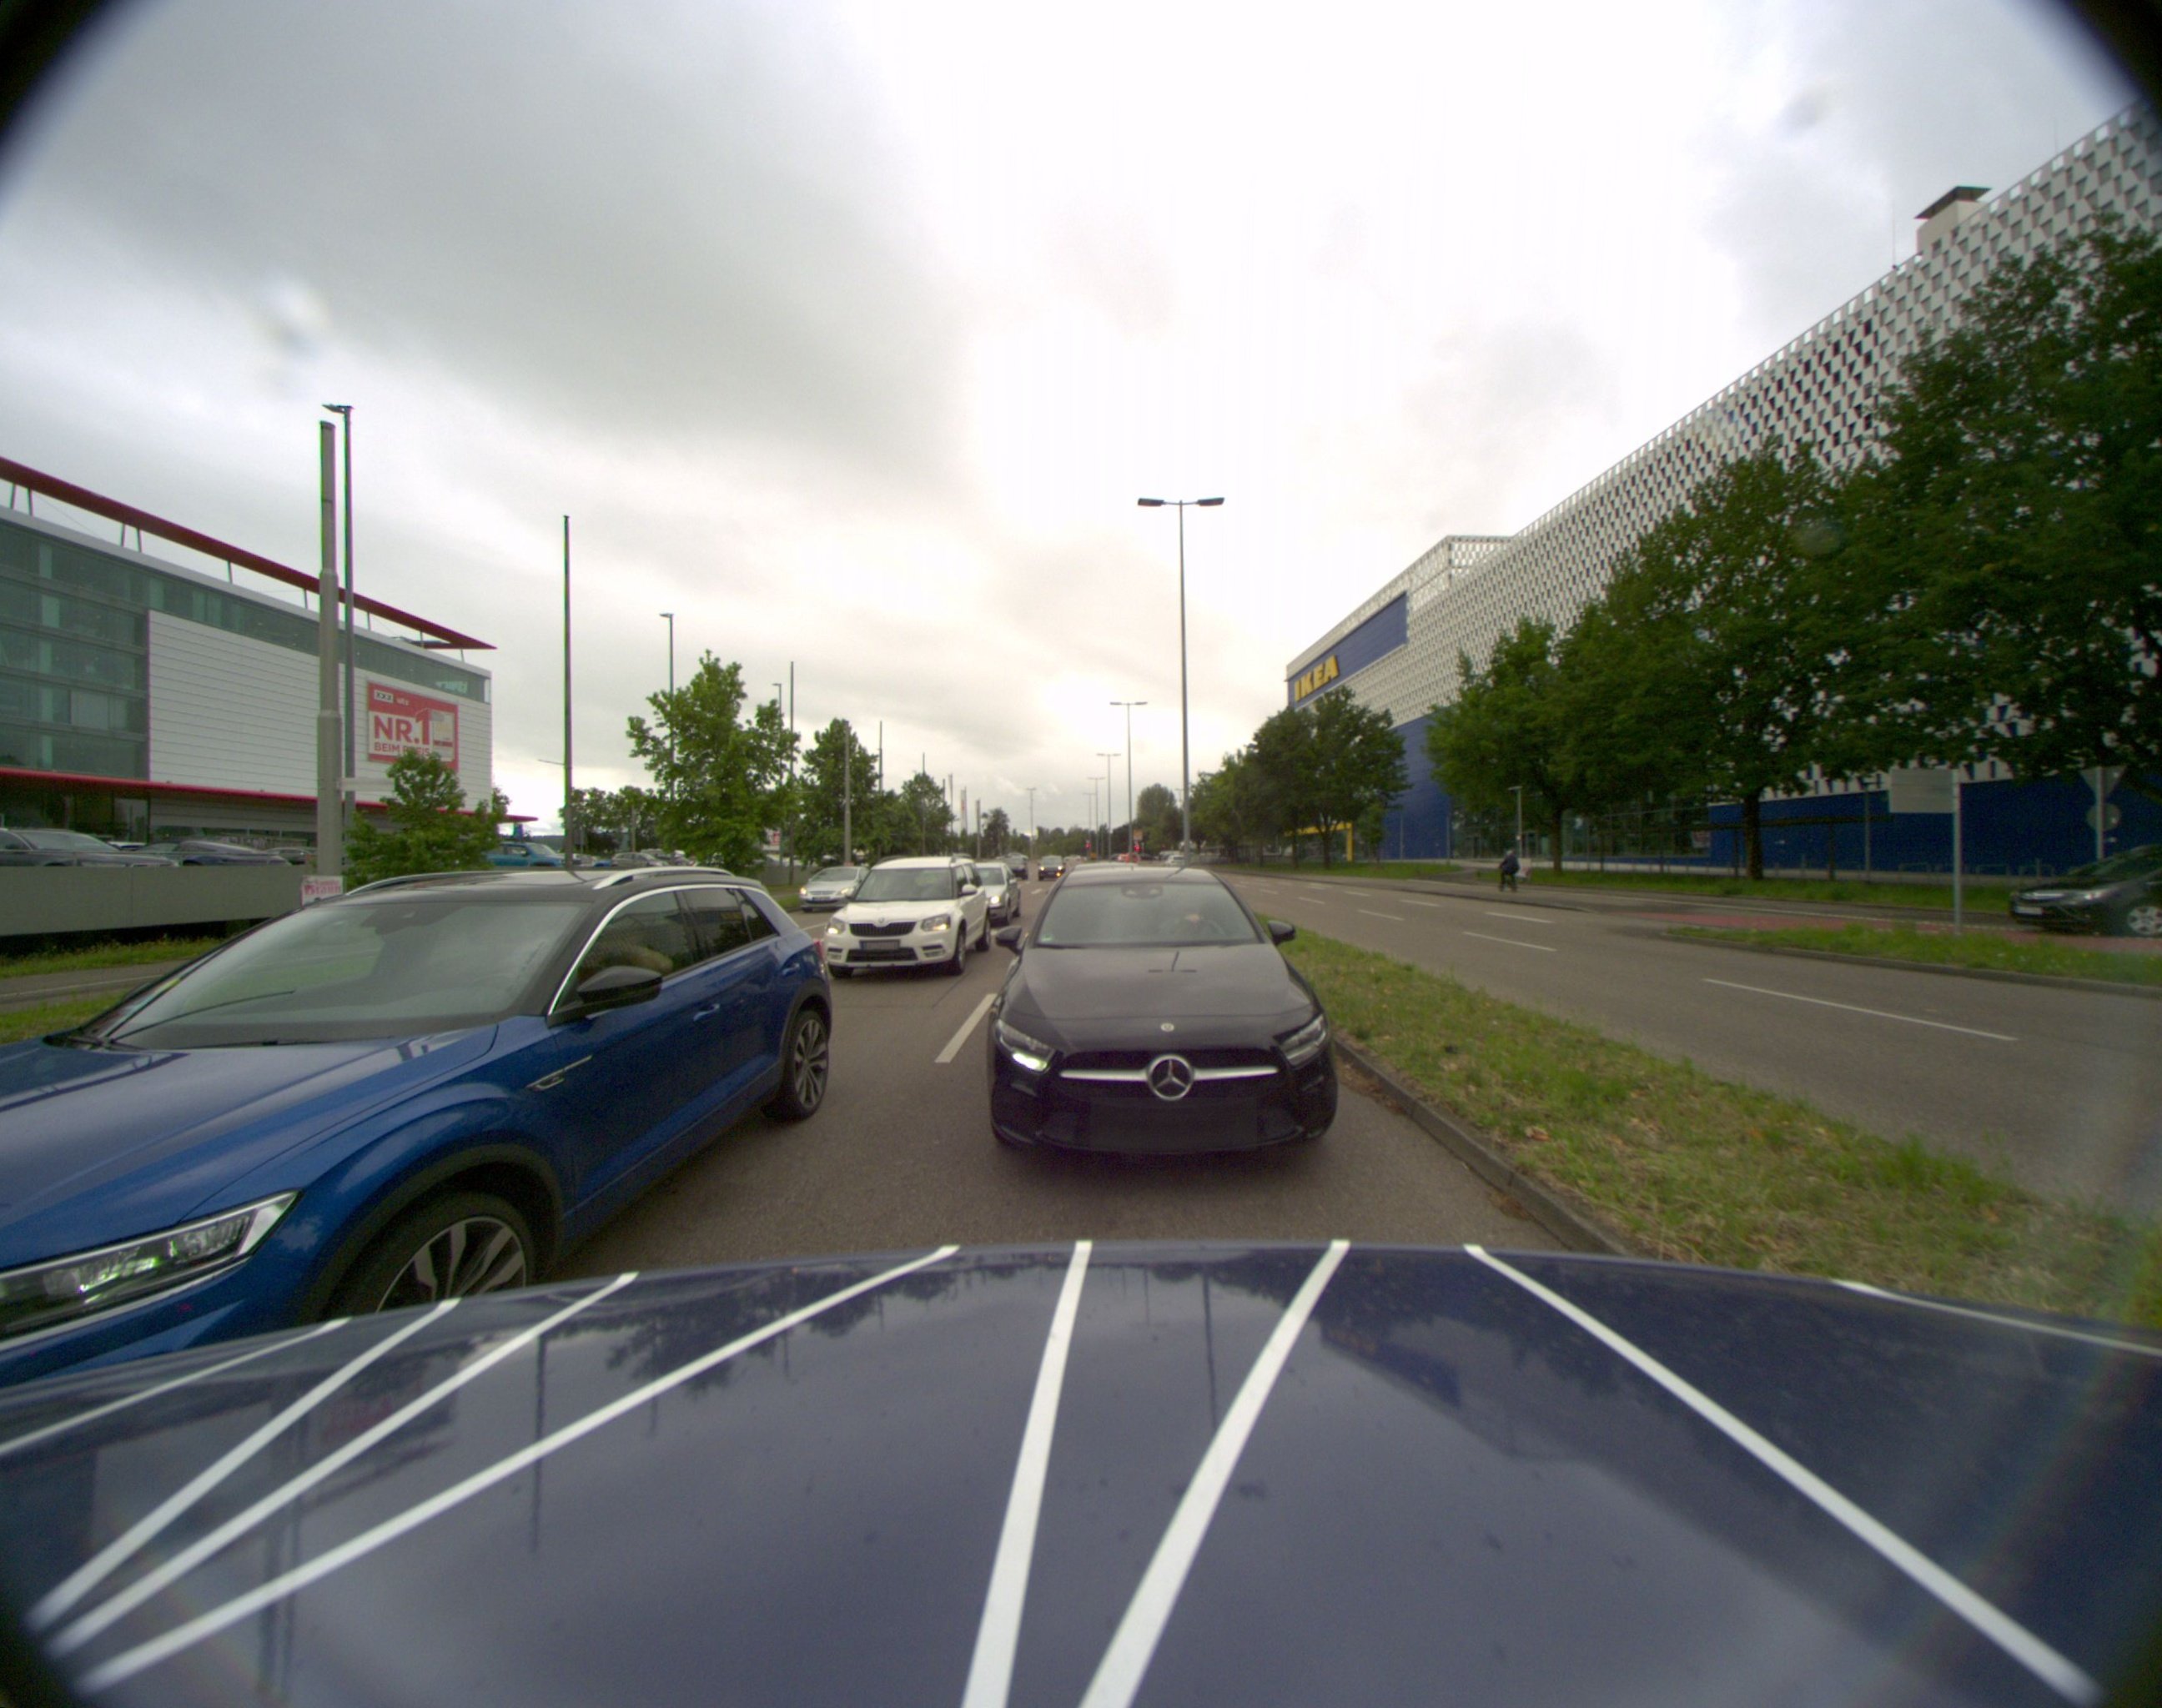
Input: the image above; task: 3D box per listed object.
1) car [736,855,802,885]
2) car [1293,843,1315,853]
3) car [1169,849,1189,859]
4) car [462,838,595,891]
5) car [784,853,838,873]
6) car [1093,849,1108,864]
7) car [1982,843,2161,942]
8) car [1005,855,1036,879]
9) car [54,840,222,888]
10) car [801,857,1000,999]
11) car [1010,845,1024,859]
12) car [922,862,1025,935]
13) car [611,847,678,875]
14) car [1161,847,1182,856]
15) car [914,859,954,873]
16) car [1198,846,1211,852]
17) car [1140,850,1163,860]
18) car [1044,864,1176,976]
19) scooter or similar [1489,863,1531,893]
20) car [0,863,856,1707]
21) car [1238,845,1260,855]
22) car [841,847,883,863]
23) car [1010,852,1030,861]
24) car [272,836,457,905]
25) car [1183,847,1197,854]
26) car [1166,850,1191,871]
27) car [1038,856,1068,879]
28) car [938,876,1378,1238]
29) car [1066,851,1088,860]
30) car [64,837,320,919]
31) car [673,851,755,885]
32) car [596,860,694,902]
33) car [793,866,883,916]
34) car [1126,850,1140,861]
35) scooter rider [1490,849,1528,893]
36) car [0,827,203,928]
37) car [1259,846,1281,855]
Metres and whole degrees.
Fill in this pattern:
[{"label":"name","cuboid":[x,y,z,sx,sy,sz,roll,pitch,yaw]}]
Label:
[{"label":"car","cuboid":[-23.248,1.182,56.657,3.997,2.002,2.000,-2,1,0]},{"label":"car","cuboid":[47.170,-1.299,160.567,3.999,1.805,1.998,-2,1,-7]},{"label":"car","cuboid":[22.251,-0.026,172.521,3.997,2.002,1.999,-2,1,-2]},{"label":"car","cuboid":[-23.169,0.400,32.003,3.997,2.002,1.999,-2,1,-2]},{"label":"car","cuboid":[-23.628,0.768,66.493,3.997,1.556,1.796,-2,1,1]},{"label":"car","cuboid":[3.027,0.392,118.676,1.999,2.206,3.999,0,0,-2]},{"label":"car","cuboid":[19.514,0.627,13.445,4.353,1.646,1.850,-1,0,13]},{"label":"car","cuboid":[-4.505,0.948,56.760,1.798,1.615,4.374,-2,1,1]},{"label":"car","cuboid":[-37.515,0.376,30.318,3.998,1.729,1.999,-2,1,-2]},{"label":"car","cuboid":[-2.453,0.924,11.530,1.798,1.615,4.374,-2,1,1]},{"label":"car","cuboid":[-10.195,-0.333,121.022,1.999,2.229,3.999,0,0,-2]},{"label":"car","cuboid":[-2.459,0.976,18.400,1.801,1.407,4.218,-2,1,1]},{"label":"car","cuboid":[-33.821,0.536,58.944,3.997,2.002,1.999,-2,1,-2]},{"label":"car","cuboid":[21.484,-0.596,180.371,4.708,2.002,1.999,-2,1,-2]},{"label":"car","cuboid":[-17.209,1.358,89.132,4.216,1.407,1.802,-2,1,0]},{"label":"car","cuboid":[38.877,-1.628,239.184,3.565,1.630,1.743,-2,1,-3]},{"label":"car","cuboid":[16.962,0.250,182.840,5.089,2.002,1.999,-2,1,-2]},{"label":"car","cuboid":[0.427,0.937,12.588,1.767,1.370,4.258,-2,1,1]},{"label":"scooter or similar","cuboid":[17.124,0.954,30.343,0.590,1.119,1.423,-5,2,-16]},{"label":"car","cuboid":[-2.584,0.928,3.150,1.846,1.612,4.332,-2,1,1]},{"label":"car","cuboid":[30.317,-0.677,137.075,3.565,1.630,1.743,-2,1,-3]},{"label":"car","cuboid":[-24.169,0.080,83.970,3.997,1.556,1.796,-2,1,1]},{"label":"car","cuboid":[-12.388,0.465,154.030,3.999,1.786,1.999,0,0,-6]},{"label":"car","cuboid":[-23.276,0.511,24.813,3.997,2.002,1.999,-2,1,-2]},{"label":"car","cuboid":[34.255,-1.098,238.931,4.290,1.813,1.743,-2,1,-3]},{"label":"car","cuboid":[9.579,0.618,74.714,1.847,1.875,3.924,-2,1,-1]},{"label":"car","cuboid":[-1.935,0.924,53.443,1.801,1.565,4.219,-2,0,1]},{"label":"car","cuboid":[0.363,0.945,5.406,1.859,1.426,4.197,-2,0,1]},{"label":"car","cuboid":[-1.028,0.380,181.575,5.089,2.002,1.999,-2,1,-2]},{"label":"car","cuboid":[-22.651,0.574,19.519,3.998,1.838,1.999,-2,1,-2]},{"label":"car","cuboid":[-24.046,0.884,49.968,4.324,2.002,1.999,-2,1,-2]},{"label":"car","cuboid":[-23.375,1.417,40.884,3.997,2.002,1.999,-2,1,-2]},{"label":"car","cuboid":[-7.859,1.142,24.953,1.694,1.364,3.925,-2,1,-1]},{"label":"car","cuboid":[8.389,0.270,123.105,1.847,1.709,3.924,-2,1,-1]},{"label":"scooter rider","cuboid":[17.091,0.665,30.376,0.798,1.710,1.038,-2,1,-16]},{"label":"car","cuboid":[-22.641,0.528,16.528,4.529,2.002,1.999,-2,1,-2]},{"label":"car","cuboid":[39.749,-0.792,159.721,3.999,1.805,1.998,-2,1,-7]}]
